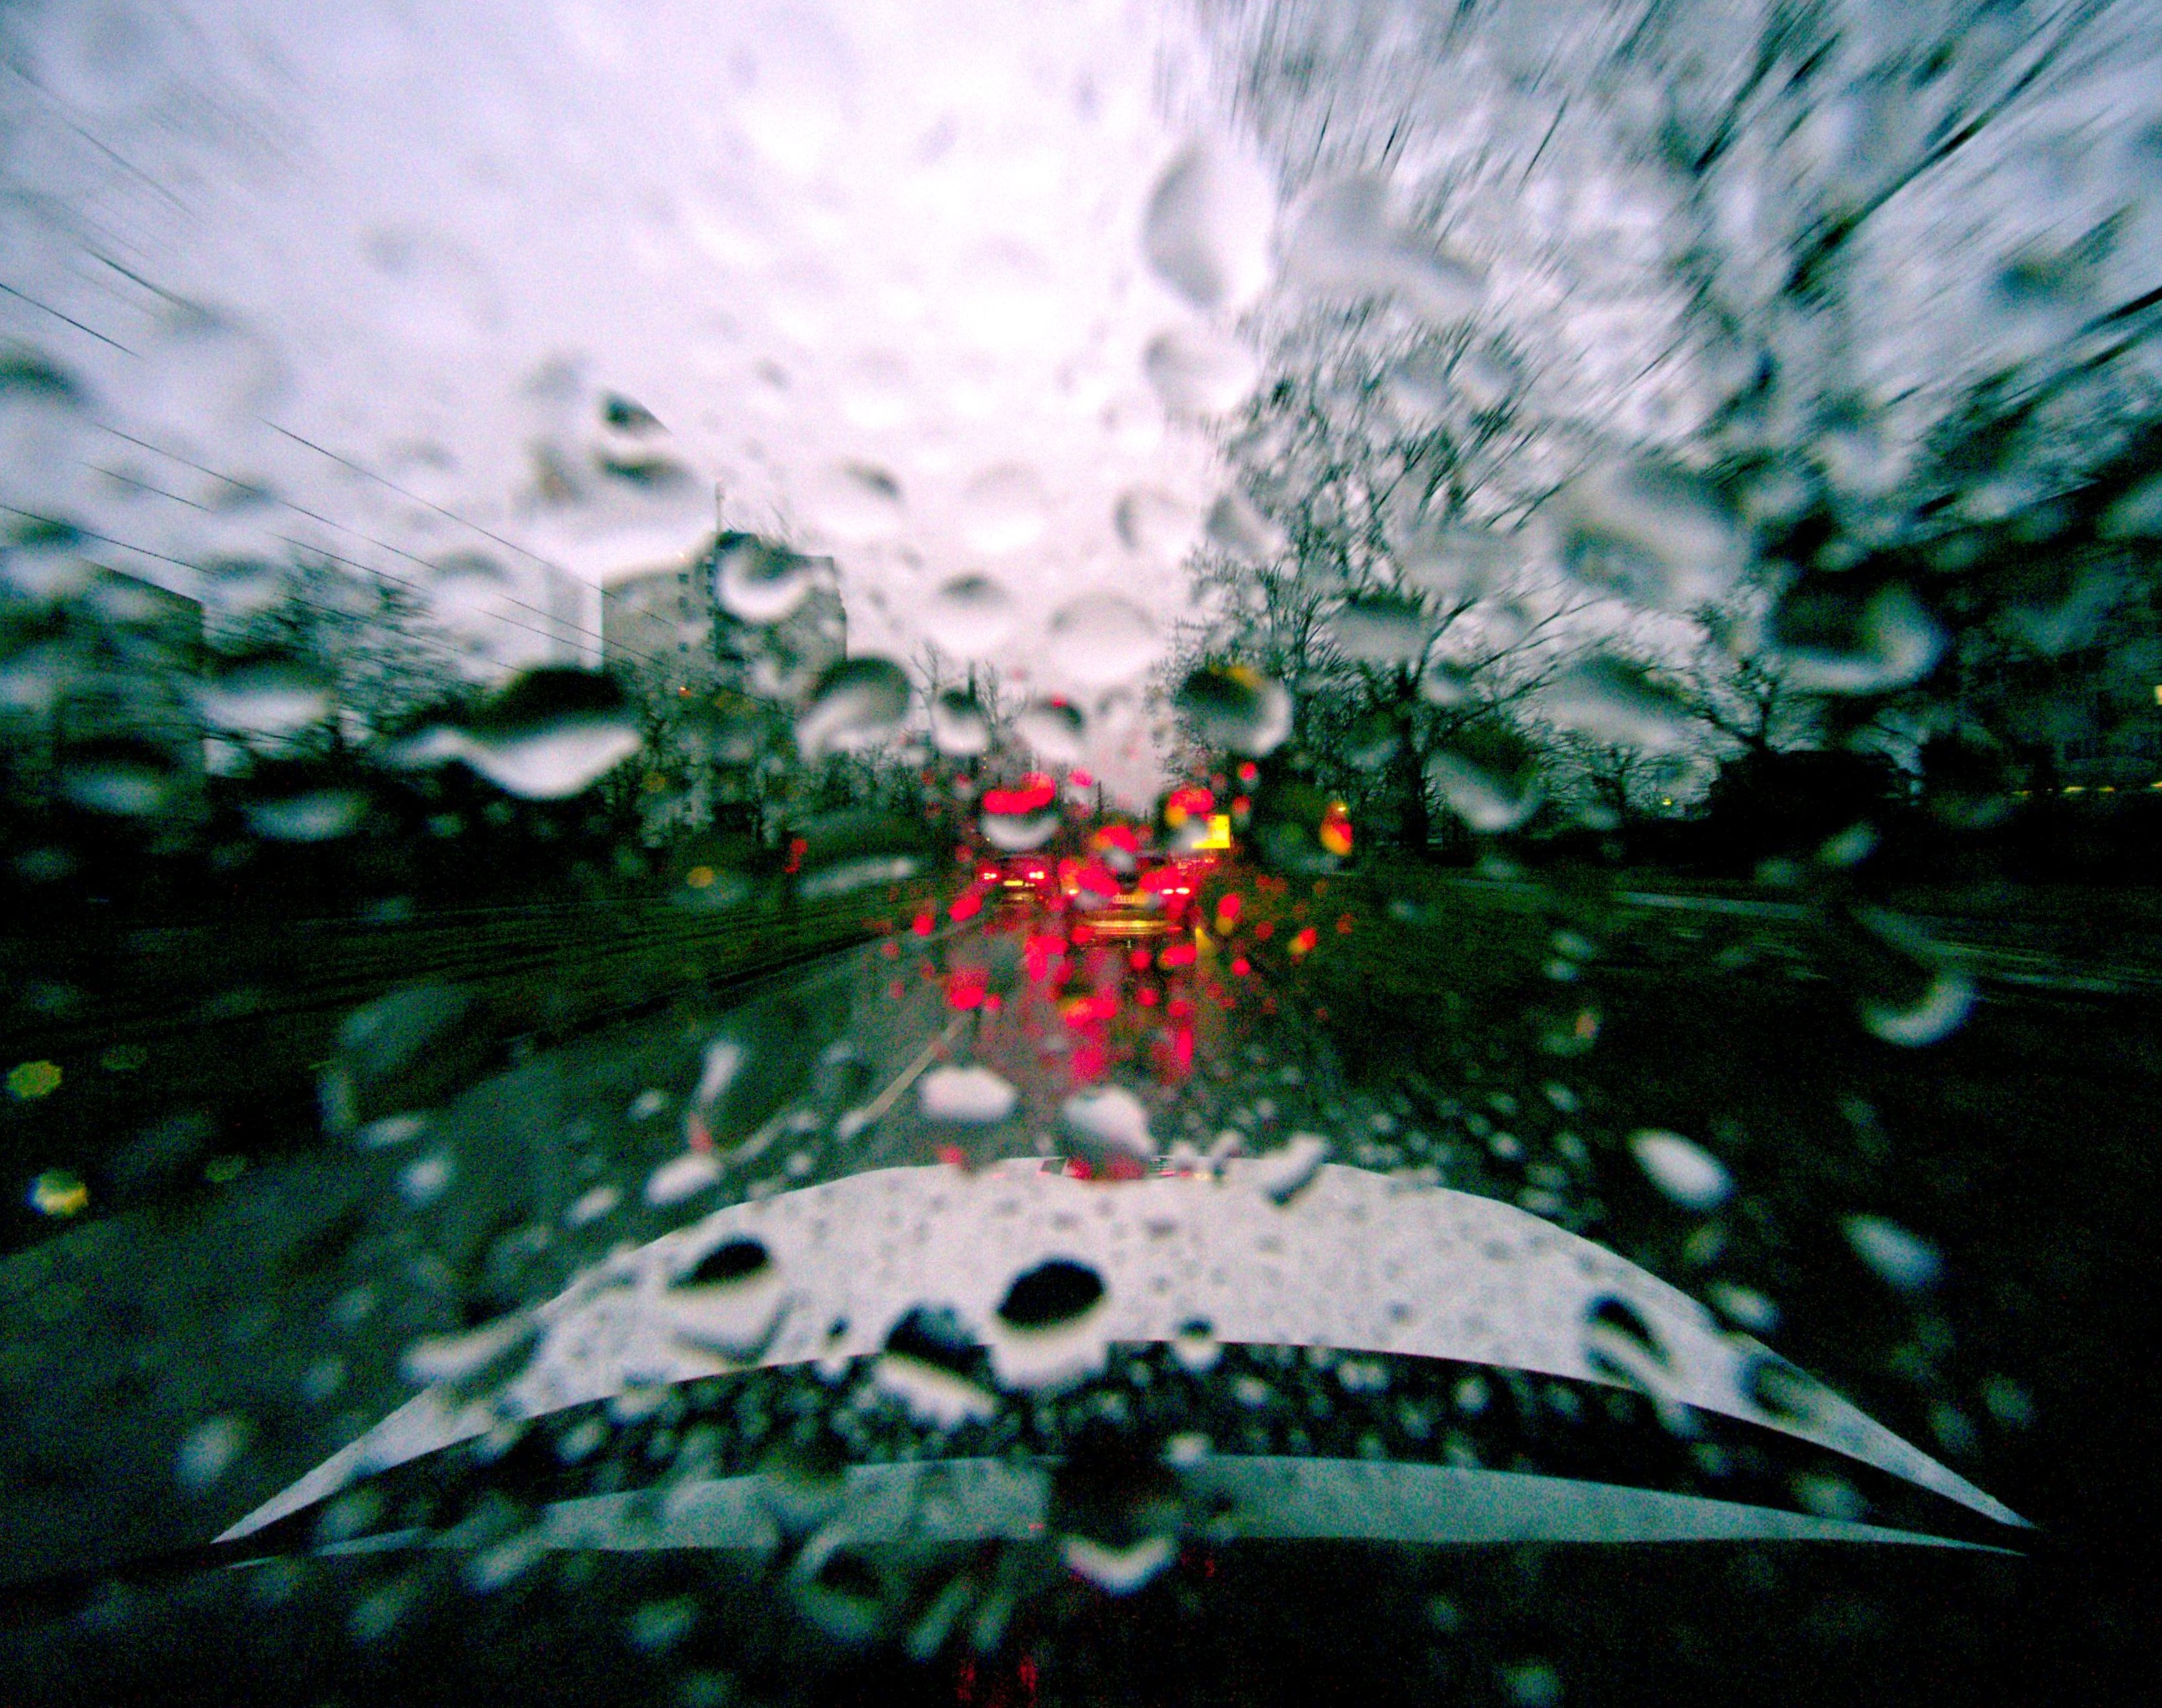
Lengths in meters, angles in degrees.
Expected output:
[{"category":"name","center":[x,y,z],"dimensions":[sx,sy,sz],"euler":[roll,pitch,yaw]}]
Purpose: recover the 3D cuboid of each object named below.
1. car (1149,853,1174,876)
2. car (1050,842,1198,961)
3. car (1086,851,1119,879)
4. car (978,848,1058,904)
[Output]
[{"category":"car","center":[5.772,0.768,58.587],"dimensions":[1.701,1.558,4.000],"euler":[-1,-1,4]},{"category":"car","center":[0.601,0.641,13.009],"dimensions":[1.991,1.584,4.000],"euler":[-1,0,0]},{"category":"car","center":[1.282,0.638,50.130],"dimensions":[1.874,1.594,4.000],"euler":[-2,0,0]},{"category":"car","center":[-1.762,0.588,23.950],"dimensions":[1.873,1.459,4.002],"euler":[-2,0,2]}]
